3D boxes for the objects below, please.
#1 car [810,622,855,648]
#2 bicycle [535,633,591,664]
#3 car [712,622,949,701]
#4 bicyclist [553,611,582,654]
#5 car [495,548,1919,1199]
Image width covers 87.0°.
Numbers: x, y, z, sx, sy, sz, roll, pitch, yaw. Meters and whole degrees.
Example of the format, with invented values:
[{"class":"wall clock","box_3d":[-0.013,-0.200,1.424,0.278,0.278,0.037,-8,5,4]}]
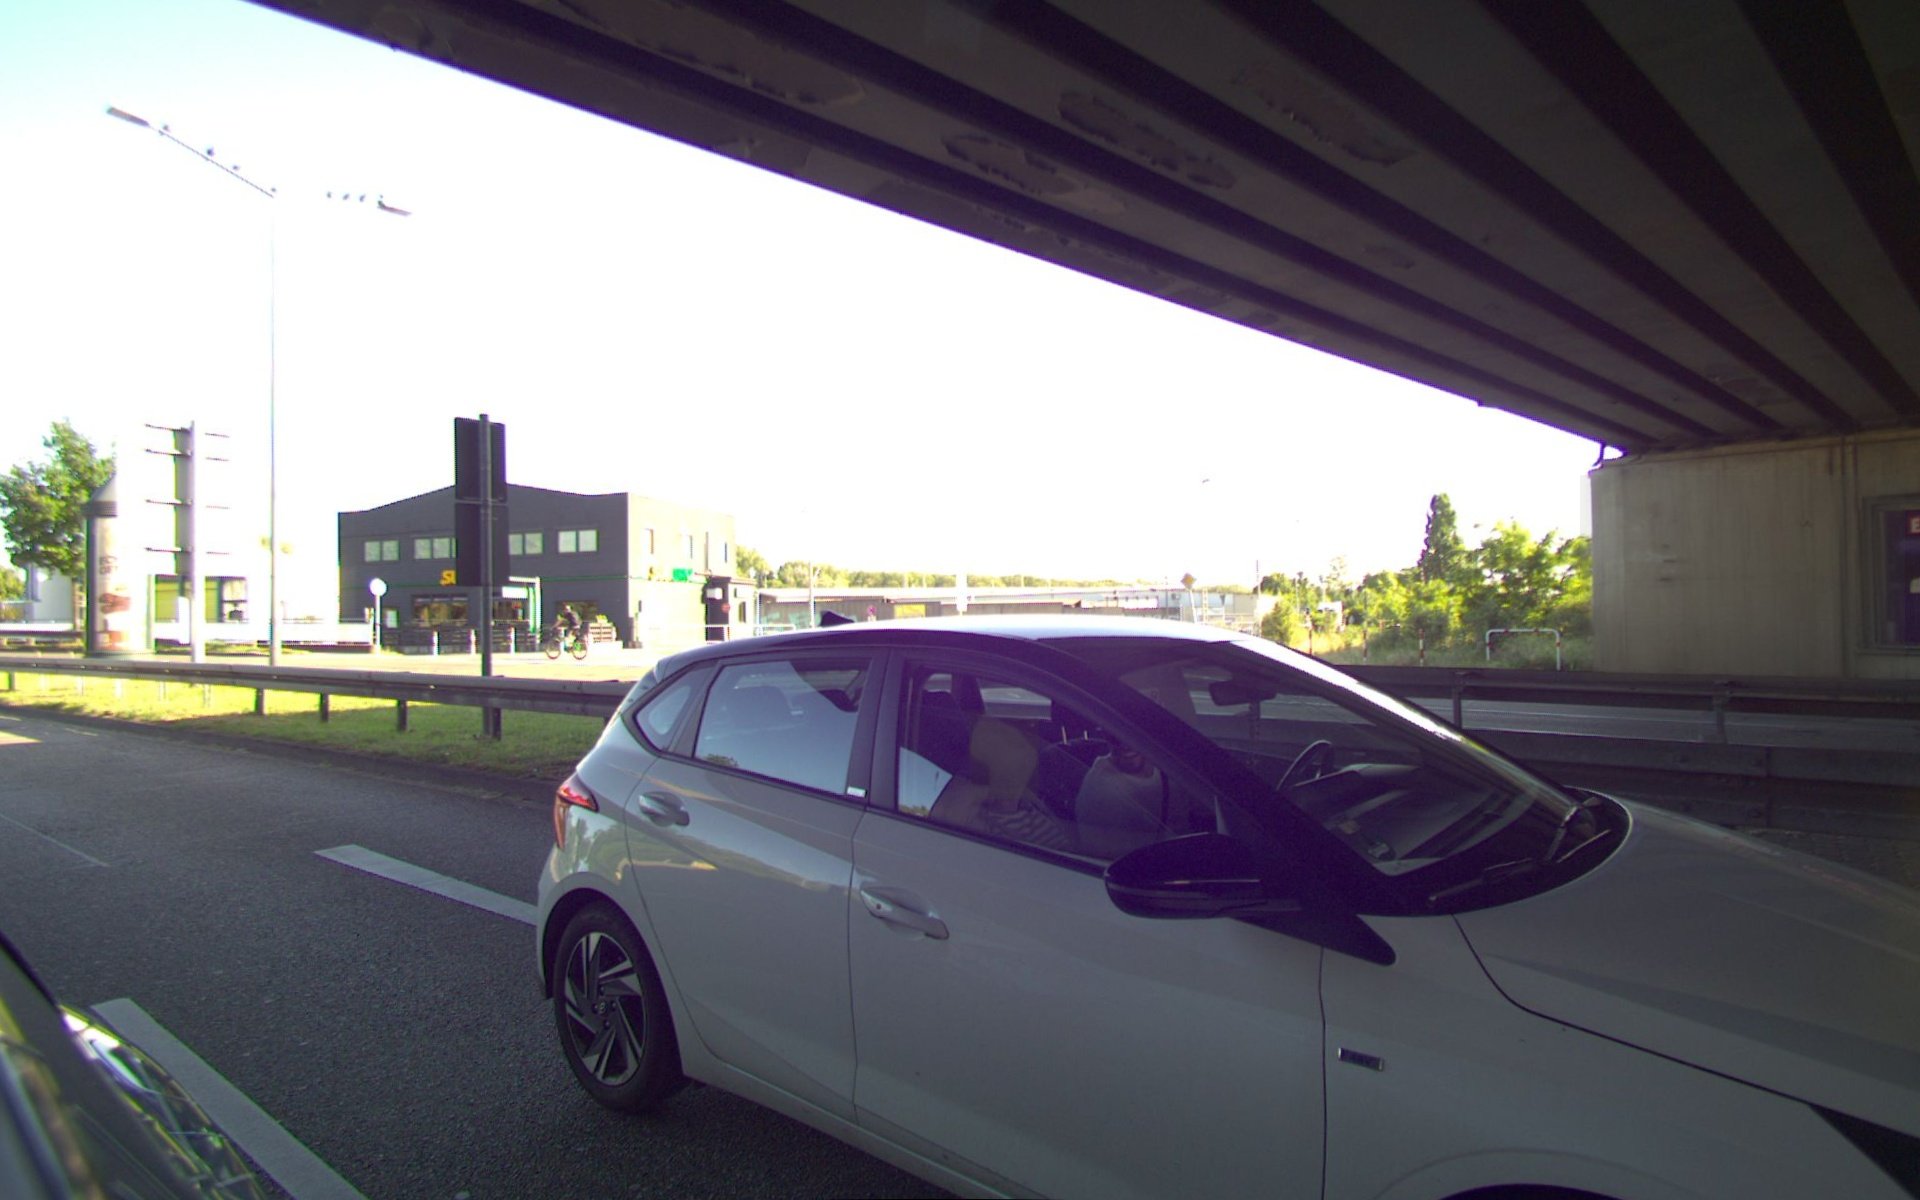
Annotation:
[{"class":"car","box_3d":[-6.878,1.918,54.972,1.806,1.291,4.180,1,-3,1]},{"class":"bicycle","box_3d":[-13.483,1.646,34.407,1.733,1.031,0.591,-1,0,13]},{"class":"car","box_3d":[-2.399,1.089,18.344,4.171,1.291,1.727,-1,-4,34]},{"class":"bicyclist","box_3d":[-13.340,1.086,34.376,0.701,1.438,0.591,-1,0,13]},{"class":"car","box_3d":[0.553,0.717,2.680,3.987,1.491,1.716,-1,-1,40]}]
